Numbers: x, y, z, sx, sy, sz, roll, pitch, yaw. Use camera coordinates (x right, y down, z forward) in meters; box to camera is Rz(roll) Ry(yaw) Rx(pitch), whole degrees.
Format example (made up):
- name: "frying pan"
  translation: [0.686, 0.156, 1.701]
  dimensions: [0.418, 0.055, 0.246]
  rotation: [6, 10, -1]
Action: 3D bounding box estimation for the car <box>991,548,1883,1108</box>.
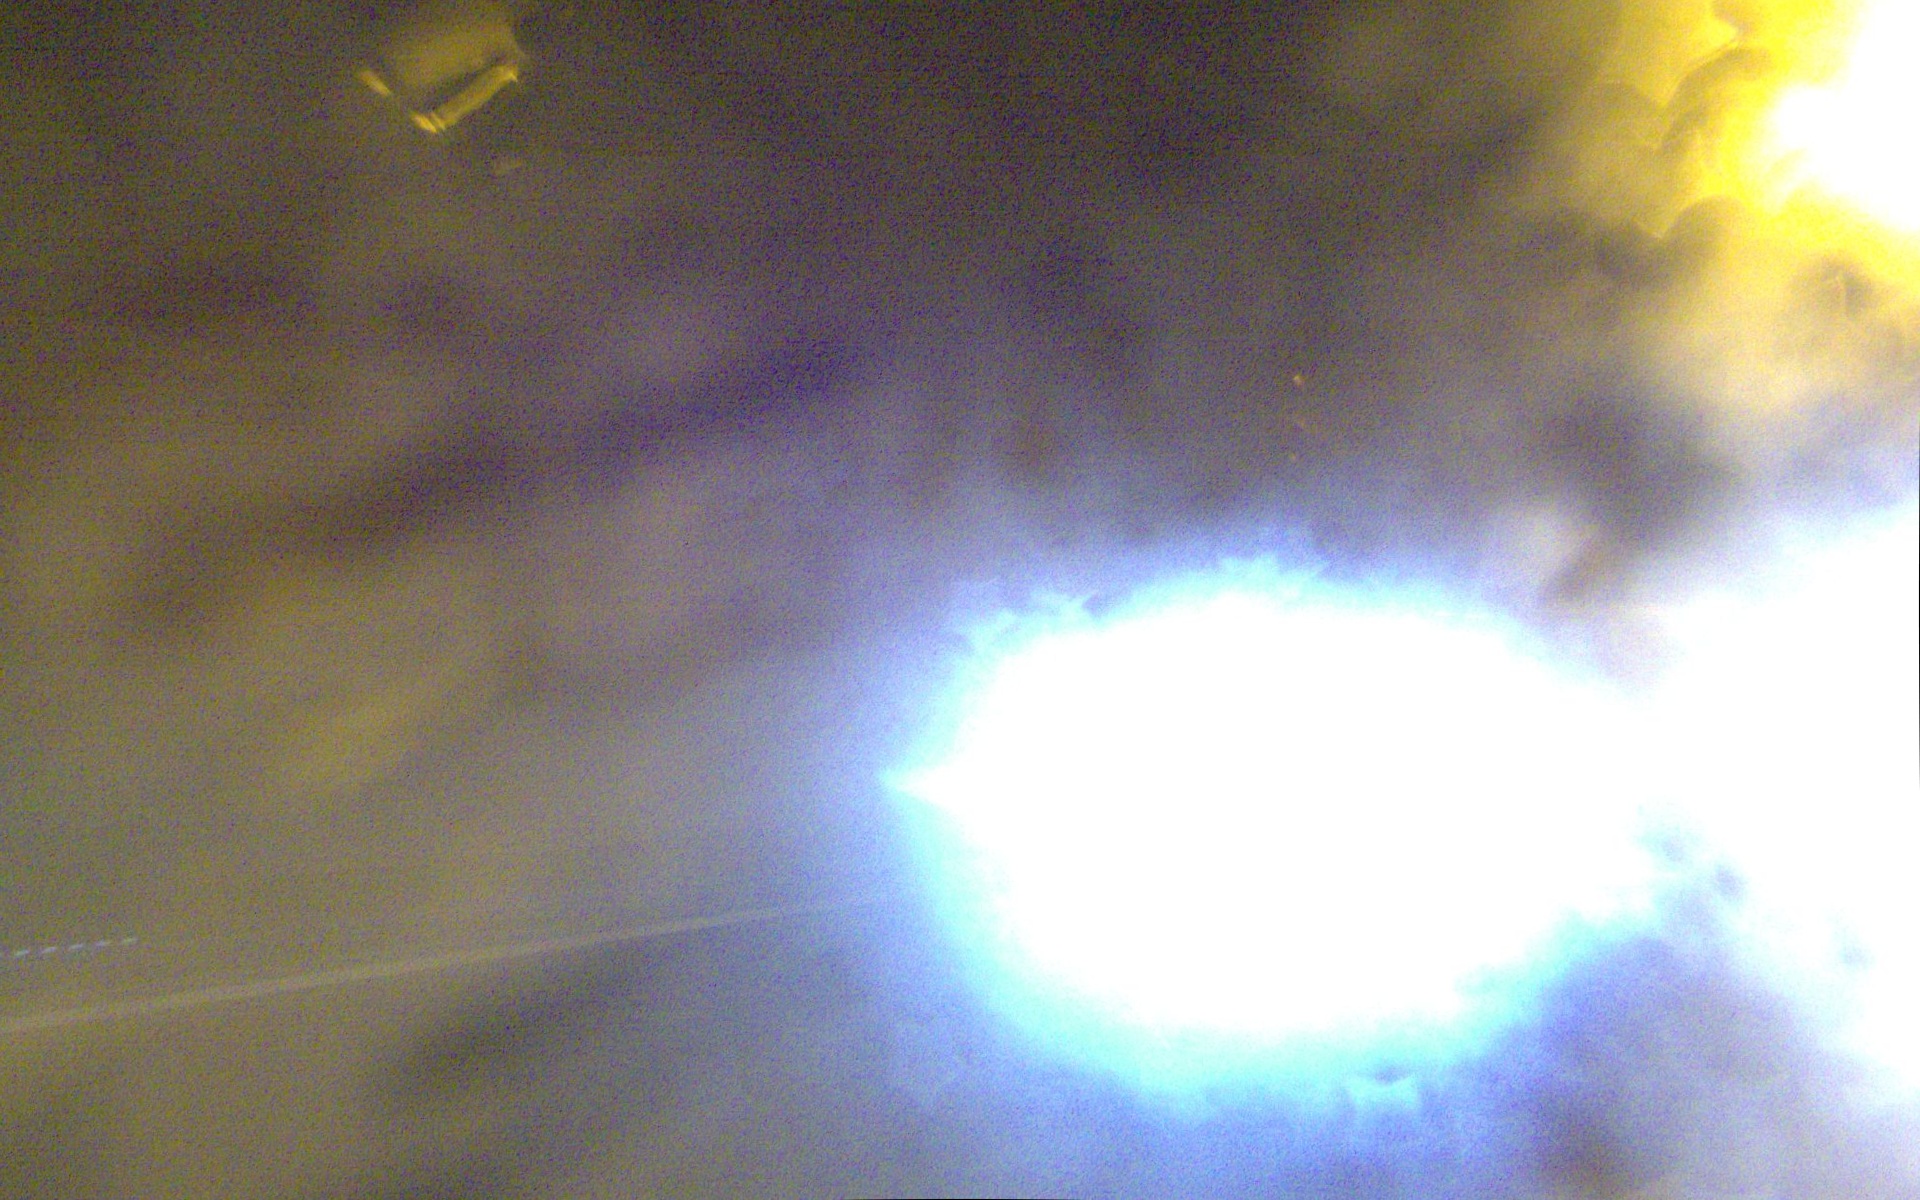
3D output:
- name: "car"
  translation: [2.530, 0.742, 4.972]
  dimensions: [4.508, 1.698, 1.772]
  rotation: [2, 0, -31]
